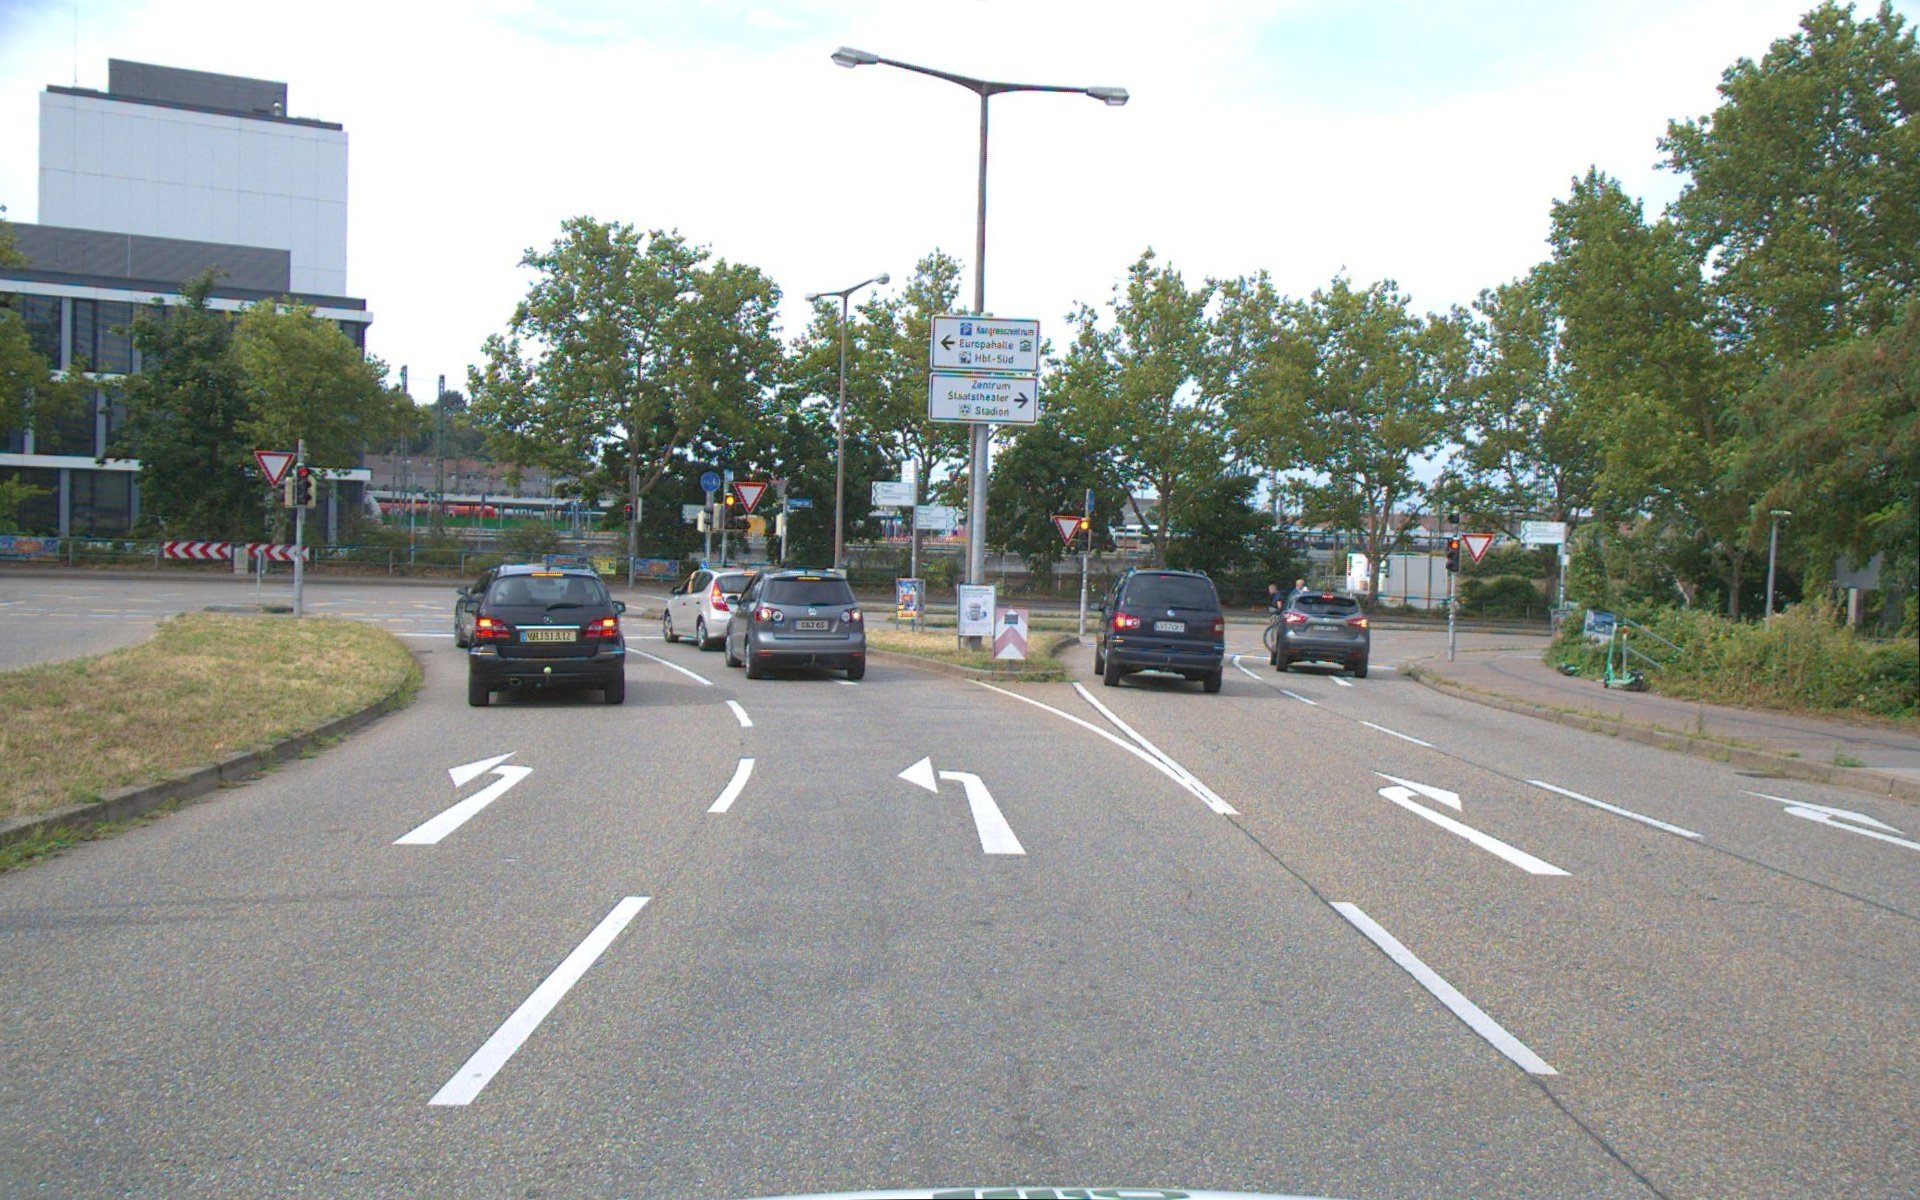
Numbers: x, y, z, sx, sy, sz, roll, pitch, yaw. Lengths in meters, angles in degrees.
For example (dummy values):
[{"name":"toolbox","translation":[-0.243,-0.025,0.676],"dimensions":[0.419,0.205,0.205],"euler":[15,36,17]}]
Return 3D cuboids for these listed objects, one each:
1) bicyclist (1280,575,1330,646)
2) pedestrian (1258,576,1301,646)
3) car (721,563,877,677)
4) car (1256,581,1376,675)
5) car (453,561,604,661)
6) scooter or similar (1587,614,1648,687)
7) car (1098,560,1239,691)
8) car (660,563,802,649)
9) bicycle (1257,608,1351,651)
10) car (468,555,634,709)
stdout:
[{"name":"bicyclist","translation":[8.617,0.244,41.338],"dimensions":[1.089,1.726,0.813],"euler":[2,1,19]},{"name":"pedestrian","translation":[8.276,0.274,42.881],"dimensions":[1.025,1.740,0.854],"euler":[3,1,10]},{"name":"car","translation":[-2.526,0.249,25.138],"dimensions":[1.712,1.573,4.066],"euler":[1,1,-15]},{"name":"car","translation":[7.140,0.520,33.566],"dimensions":[1.714,1.671,4.140],"euler":[3,0,4]},{"name":"car","translation":[-7.265,0.129,27.544],"dimensions":[1.793,1.438,4.745],"euler":[2,1,-22]},{"name":"scooter or similar","translation":[11.324,0.861,28.515],"dimensions":[0.389,1.204,1.278],"euler":[1,0,-7]},{"name":"car","translation":[3.117,0.344,25.443],"dimensions":[1.714,1.754,4.139],"euler":[3,0,2]},{"name":"car","translation":[-4.446,0.074,31.589],"dimensions":[1.717,1.508,4.054],"euler":[1,1,-23]},{"name":"bicycle","translation":[8.605,0.737,41.347],"dimensions":[2.182,0.969,0.812],"euler":[2,1,19]},{"name":"car","translation":[-5.012,0.312,20.193],"dimensions":[1.728,1.602,4.021],"euler":[2,2,-15]}]
